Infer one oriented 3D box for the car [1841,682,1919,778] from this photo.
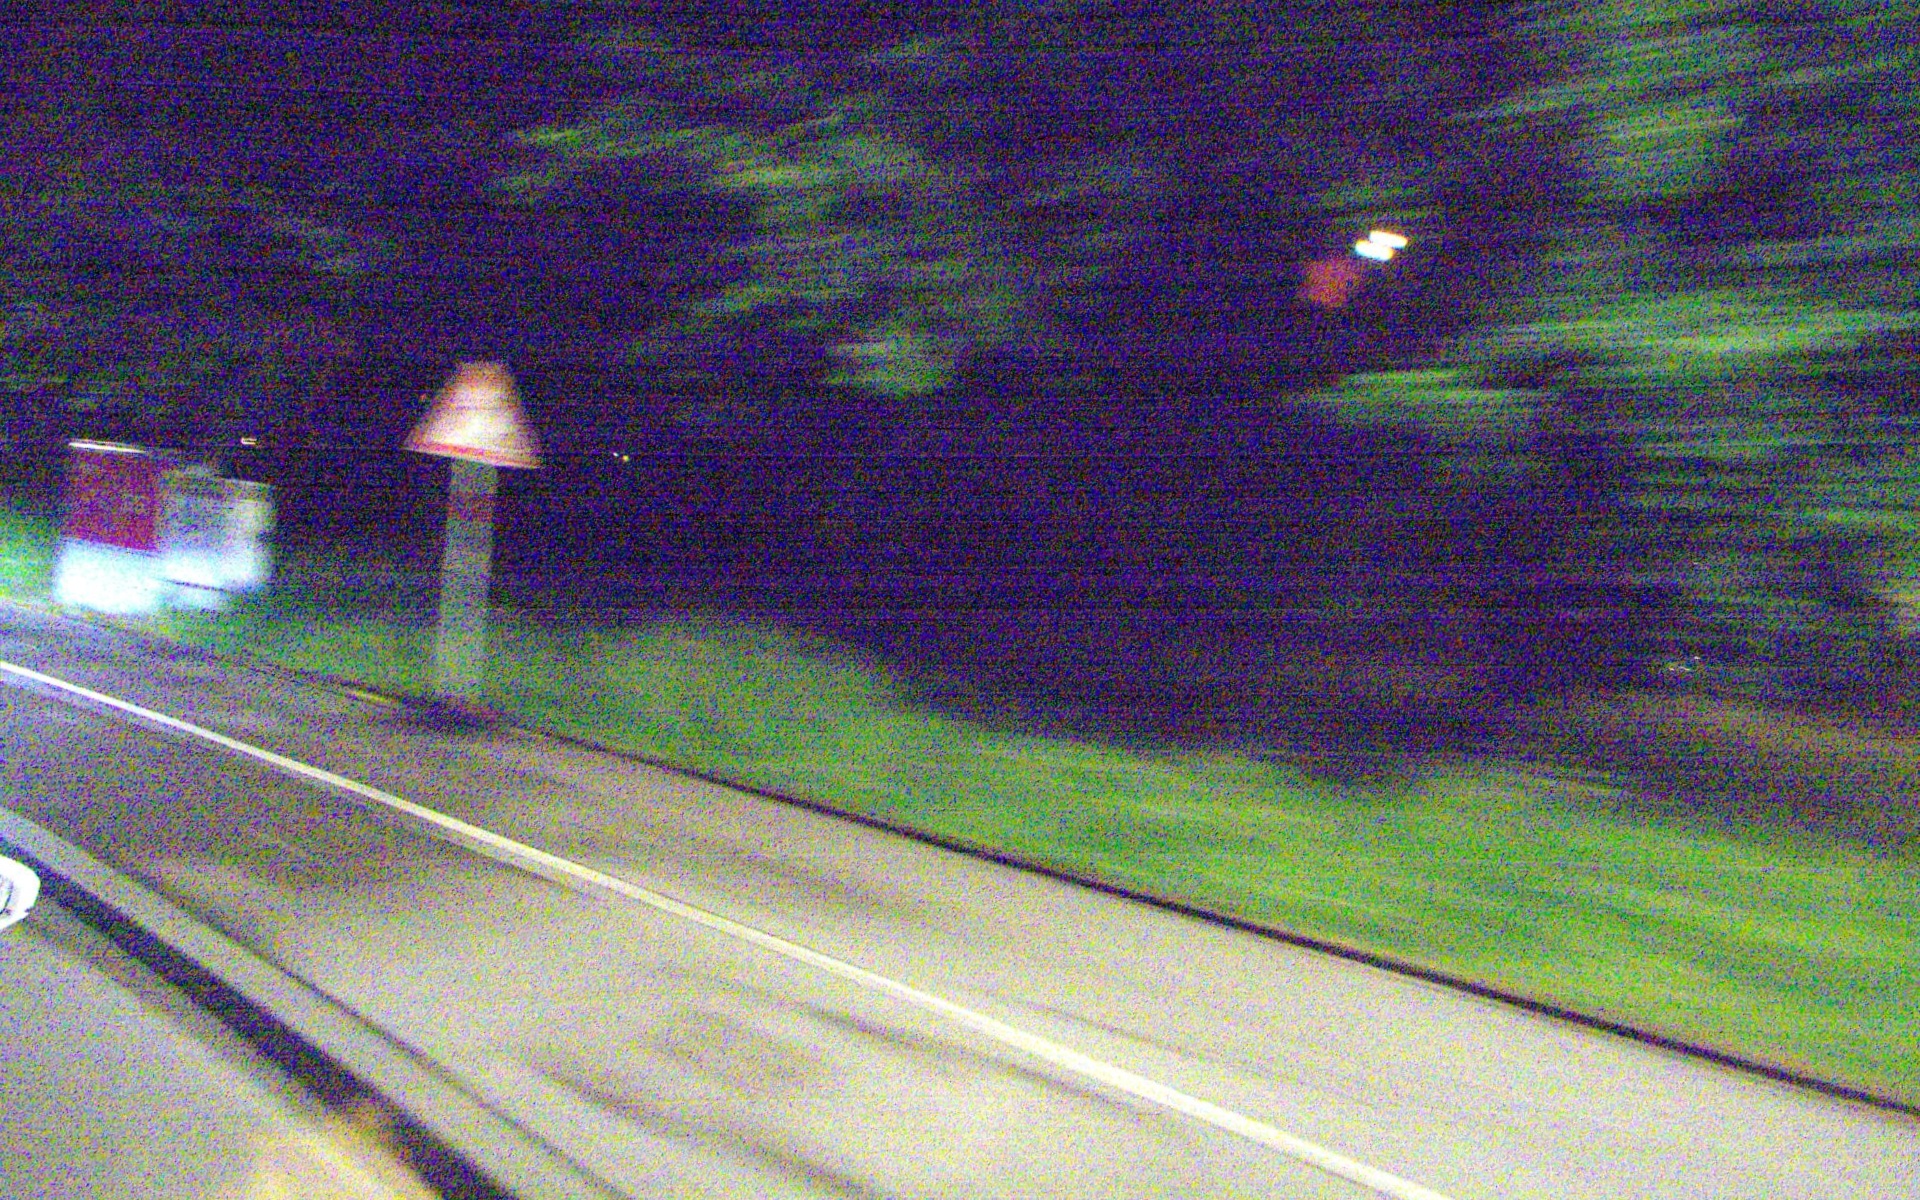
[{"bbox_3d":[19.104,2.612,19.067,1.962,1.653,3.999,6,1,16],"label":"car"}]
